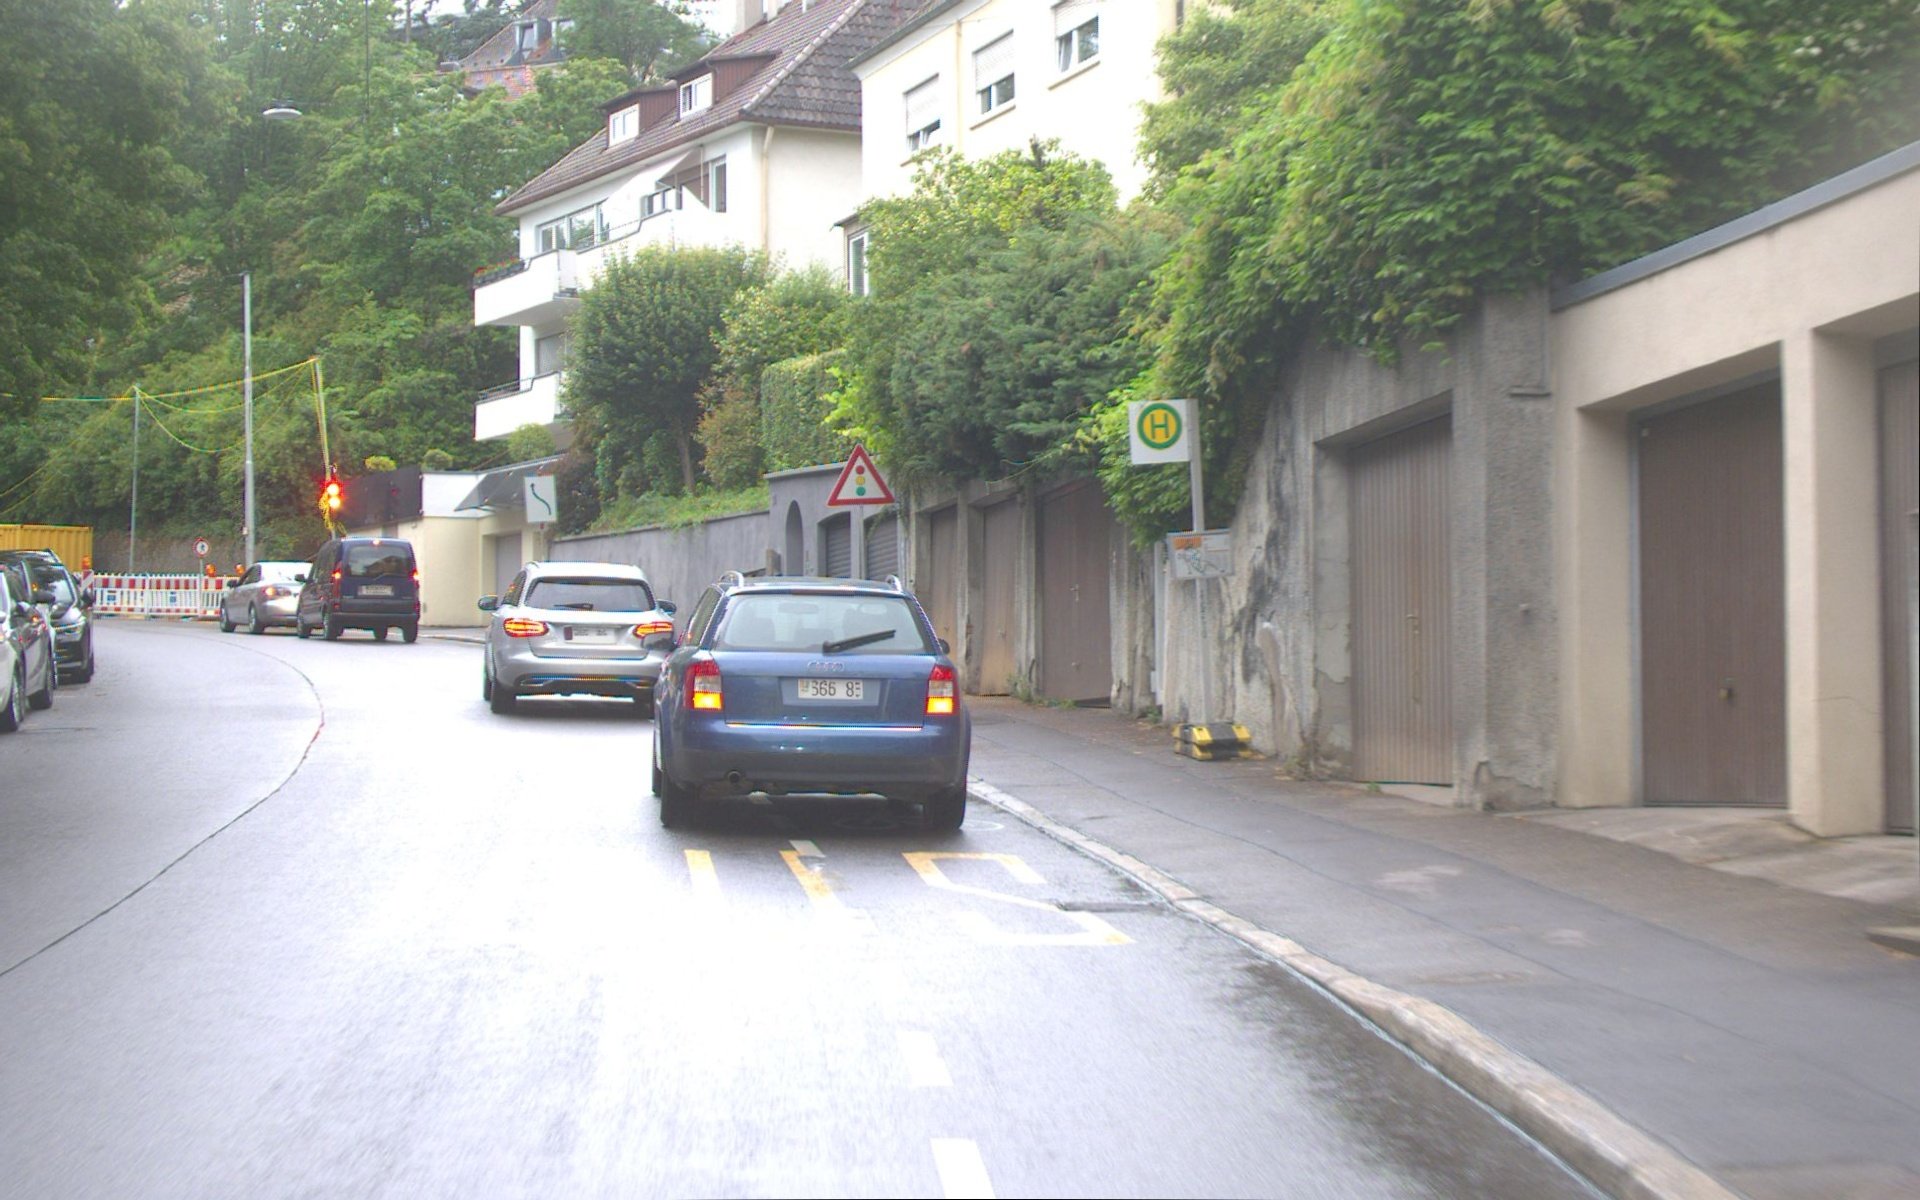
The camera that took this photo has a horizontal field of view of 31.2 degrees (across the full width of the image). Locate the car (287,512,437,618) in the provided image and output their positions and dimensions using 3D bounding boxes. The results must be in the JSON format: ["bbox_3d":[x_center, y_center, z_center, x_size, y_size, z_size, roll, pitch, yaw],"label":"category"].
[{"bbox_3d":[-10.751,-0.636,61.587,1.993,1.787,4.001,-2,1,-19],"label":"car"}]

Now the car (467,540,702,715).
[{"bbox_3d":[-3.800,0.219,34.158,1.925,1.612,4.322,0,1,-12],"label":"car"}]

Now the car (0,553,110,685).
[{"bbox_3d":[-11.398,0.238,42.365,1.555,1.483,4.099,-4,1,-12],"label":"car"}]

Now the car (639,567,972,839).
[{"bbox_3d":[-0.947,0.533,20.517,1.785,1.437,3.964,0,1,-3],"label":"car"}]

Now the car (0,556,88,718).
[{"bbox_3d":[-9.733,0.378,33.972,1.664,1.483,4.476,-4,1,-9],"label":"car"}]

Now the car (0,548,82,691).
[{"bbox_3d":[-10.823,0.229,38.639,1.555,1.505,3.384,-3,1,-11],"label":"car"}]

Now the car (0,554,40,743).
[{"bbox_3d":[-8.734,0.426,28.768,1.574,1.483,3.471,-4,2,-9],"label":"car"}]

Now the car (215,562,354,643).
[{"bbox_3d":[-13.185,0.017,66.977,1.720,1.481,4.077,-2,1,-25],"label":"car"}]
